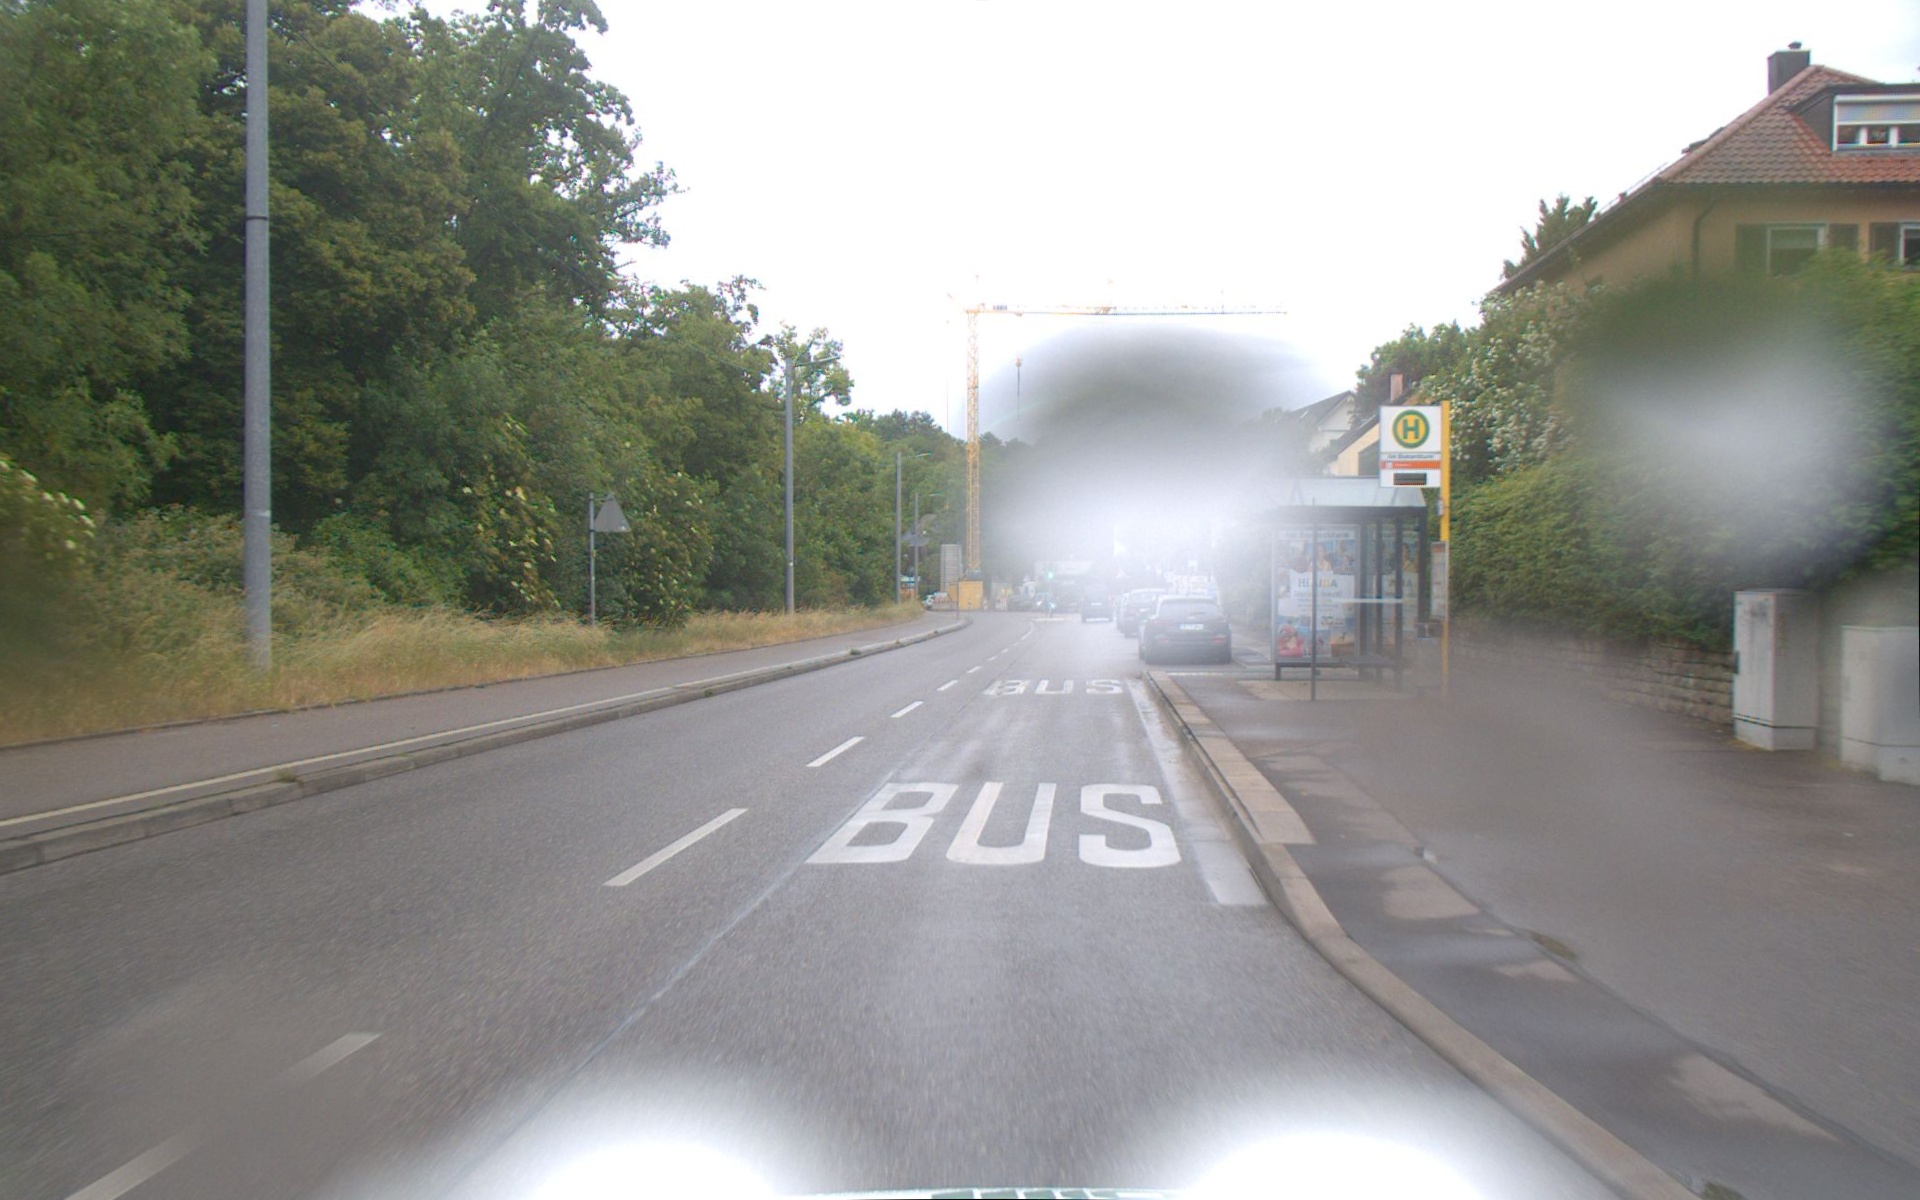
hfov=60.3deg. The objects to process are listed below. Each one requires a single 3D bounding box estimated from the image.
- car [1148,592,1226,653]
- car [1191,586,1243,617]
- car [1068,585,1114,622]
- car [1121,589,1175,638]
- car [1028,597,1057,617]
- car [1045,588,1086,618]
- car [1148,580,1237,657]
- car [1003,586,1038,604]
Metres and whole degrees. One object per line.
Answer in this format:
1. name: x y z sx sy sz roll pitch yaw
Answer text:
1. car: 5.591 0.568 41.093 1.774 1.422 4.105 -1 -1 6
2. car: 14.417 0.112 92.841 1.894 1.624 4.337 2 -1 -5
3. car: 6.663 0.180 84.488 1.893 1.782 3.999 2 -1 -1
4. car: 6.477 0.442 57.365 1.694 1.595 4.524 -1 0 5
5. car: 6.379 0.534 128.298 1.641 1.483 3.381 -2 0 -7
6. car: 7.558 0.233 118.733 1.956 2.049 4.948 -3 0 -7
7. car: 5.076 0.419 36.630 1.791 1.574 4.633 -1 -1 6
8. car: 5.179 -0.463 142.244 1.897 1.447 4.824 1 0 -11
